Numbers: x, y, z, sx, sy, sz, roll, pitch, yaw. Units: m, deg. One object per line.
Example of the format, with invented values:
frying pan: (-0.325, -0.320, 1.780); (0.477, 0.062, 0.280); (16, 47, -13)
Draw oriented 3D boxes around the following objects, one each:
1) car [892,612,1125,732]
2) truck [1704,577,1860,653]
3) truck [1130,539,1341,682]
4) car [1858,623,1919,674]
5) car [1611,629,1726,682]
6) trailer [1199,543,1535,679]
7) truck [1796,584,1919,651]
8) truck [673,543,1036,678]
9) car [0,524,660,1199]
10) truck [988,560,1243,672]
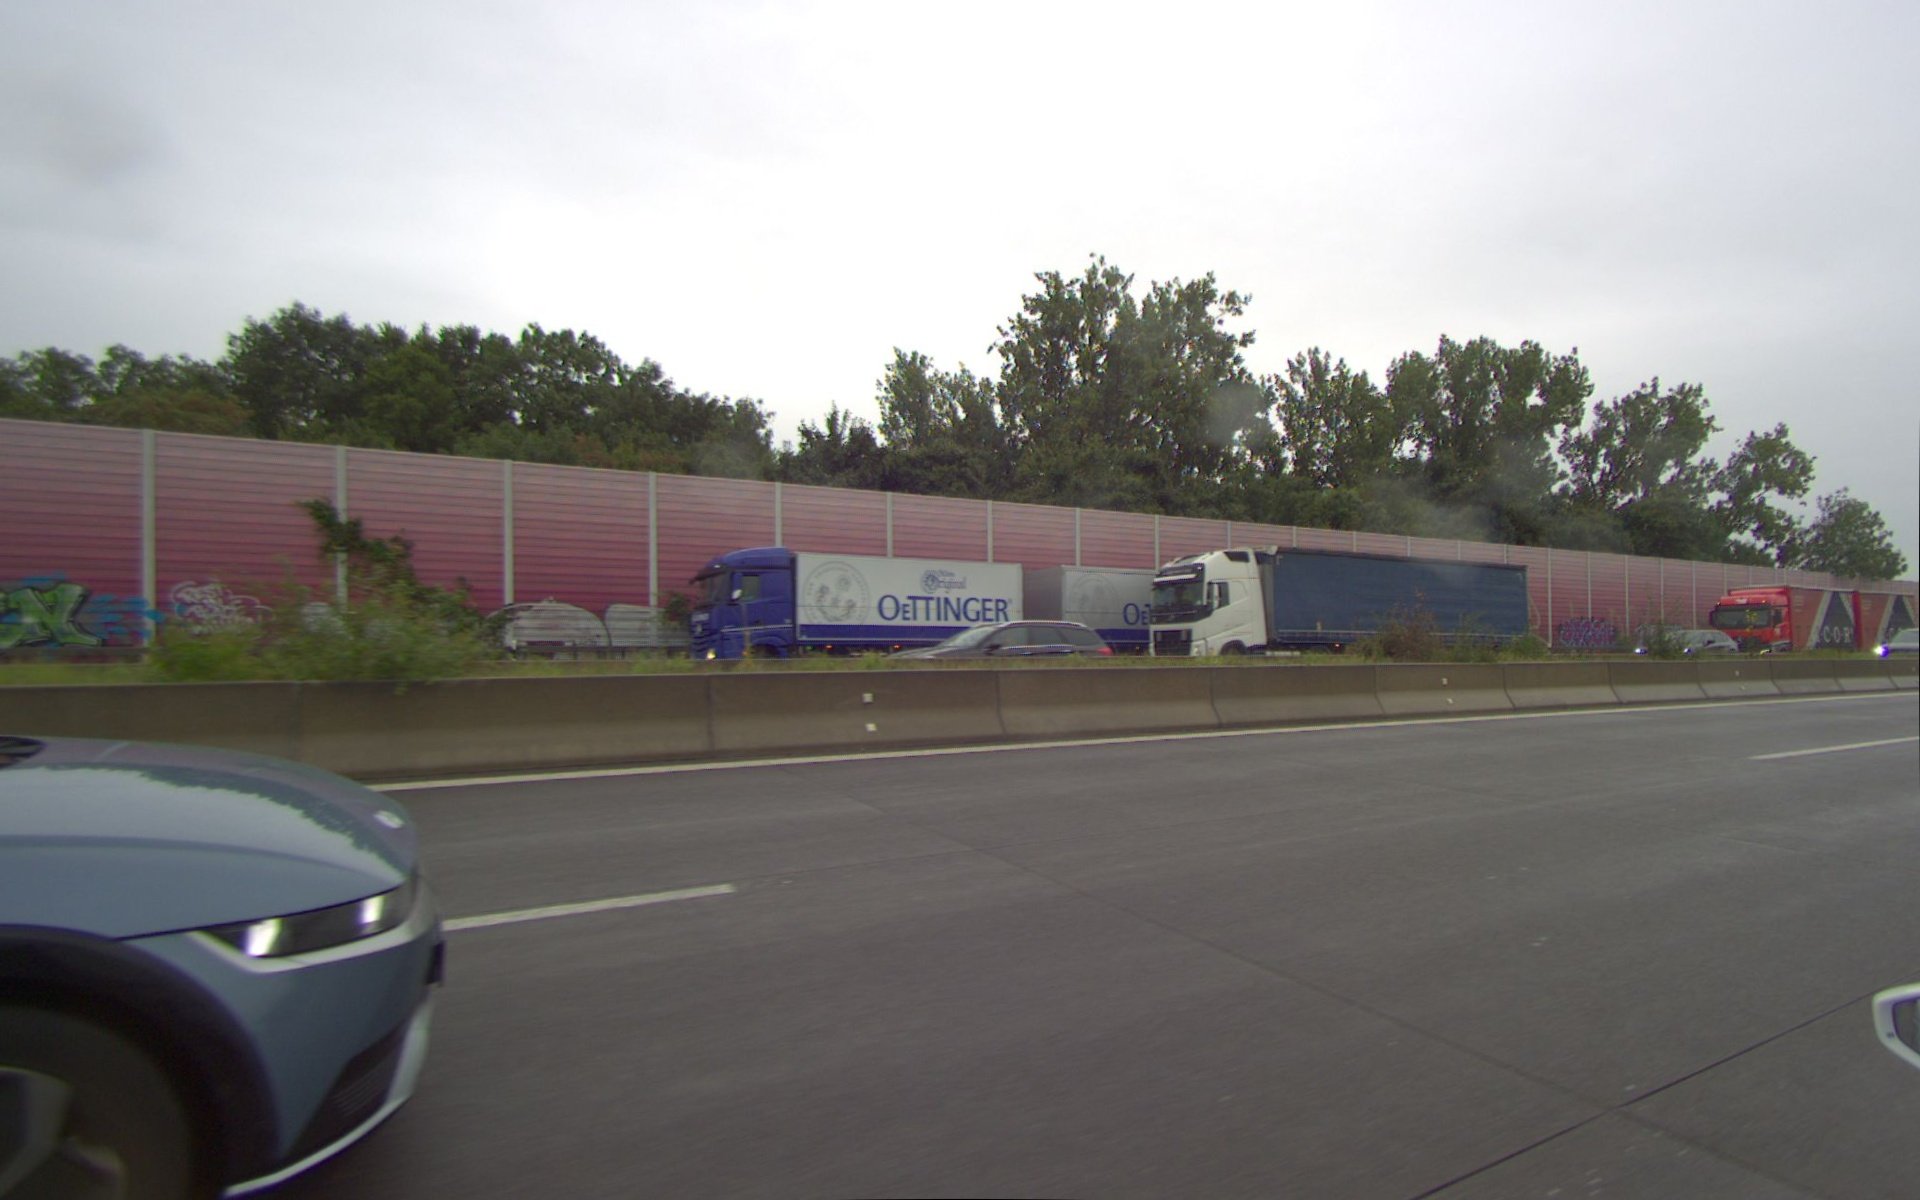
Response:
car: (0.963, 1.288, 19.136); (4.190, 2.040, 1.709); (1, 0, -31)
truck: (41.812, 0.816, 50.923); (10.495, 3.537, 2.767); (1, -1, -31)
truck: (8.630, 0.346, 31.426); (5.981, 4.081, 3.031); (1, 0, -31)
car: (36.654, 1.839, 38.626); (4.339, 1.884, 1.984); (1, -1, -31)
car: (26.813, 2.056, 37.973); (4.339, 1.884, 1.984); (1, -1, -31)
trailer: (14.565, 0.454, 35.006); (13.963, 4.081, 3.031); (1, 0, -31)
truck: (49.929, 1.012, 55.833); (8.396, 3.537, 2.767); (1, -1, -31)
truck: (-2.798, 0.354, 29.189); (10.312, 3.395, 2.699); (1, 0, -31)
car: (-3.360, 0.641, 1.838); (5.097, 1.615, 1.829); (2, -1, -31)
truck: (5.392, 0.550, 34.047); (8.600, 3.395, 2.957); (1, 0, -31)
